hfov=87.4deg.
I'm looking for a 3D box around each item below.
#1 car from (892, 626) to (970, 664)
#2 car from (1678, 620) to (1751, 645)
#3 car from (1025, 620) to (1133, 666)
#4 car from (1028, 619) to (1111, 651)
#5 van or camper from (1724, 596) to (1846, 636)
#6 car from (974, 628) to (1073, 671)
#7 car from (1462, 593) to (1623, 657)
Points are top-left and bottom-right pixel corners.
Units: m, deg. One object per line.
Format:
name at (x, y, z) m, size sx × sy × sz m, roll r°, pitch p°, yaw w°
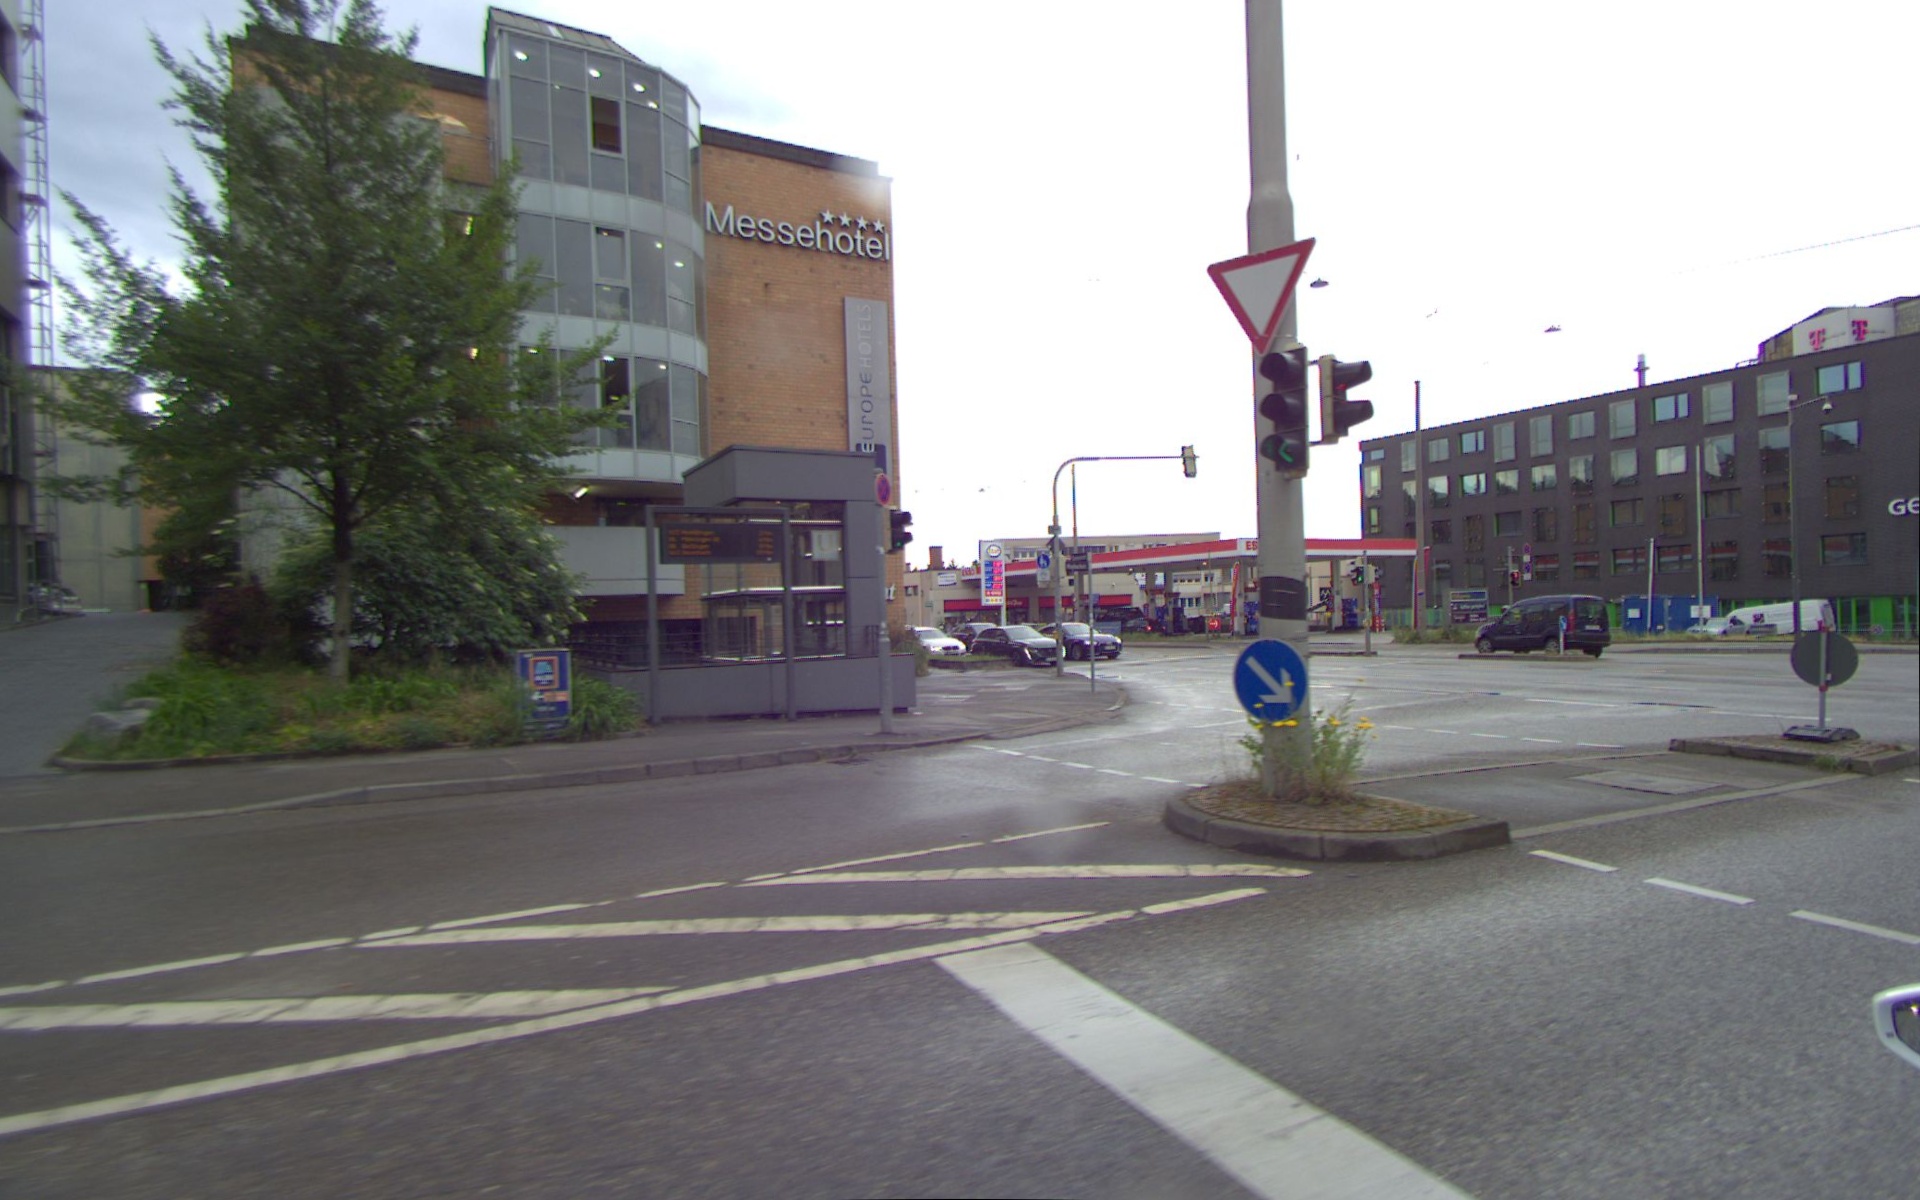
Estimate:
car at (-1.271, 1.849, 42.197) m, size 1.676 × 1.419 × 4.060 m, roll -3°, pitch 0°, yaw -27°
car at (43.478, 1.870, 57.882) m, size 3.947 × 1.305 × 1.790 m, roll 1°, pitch 0°, yaw -26°
car at (4.473, 1.611, 38.512) m, size 1.942 × 1.545 × 4.229 m, roll -3°, pitch 0°, yaw -30°
car at (6.039, 1.900, 55.818) m, size 1.983 × 1.600 × 4.440 m, roll 1°, pitch 0°, yaw -39°
van or camper at (51.698, 0.955, 63.079) m, size 2.706 × 2.400 × 5.305 m, roll 1°, pitch 0°, yaw -30°
car at (2.220, 1.733, 35.996) m, size 1.630 × 1.338 × 3.970 m, roll -3°, pitch 0°, yaw -29°
car at (17.675, 0.724, 30.696) m, size 1.829 × 1.792 × 4.115 m, roll 0°, pitch 0°, yaw -18°
